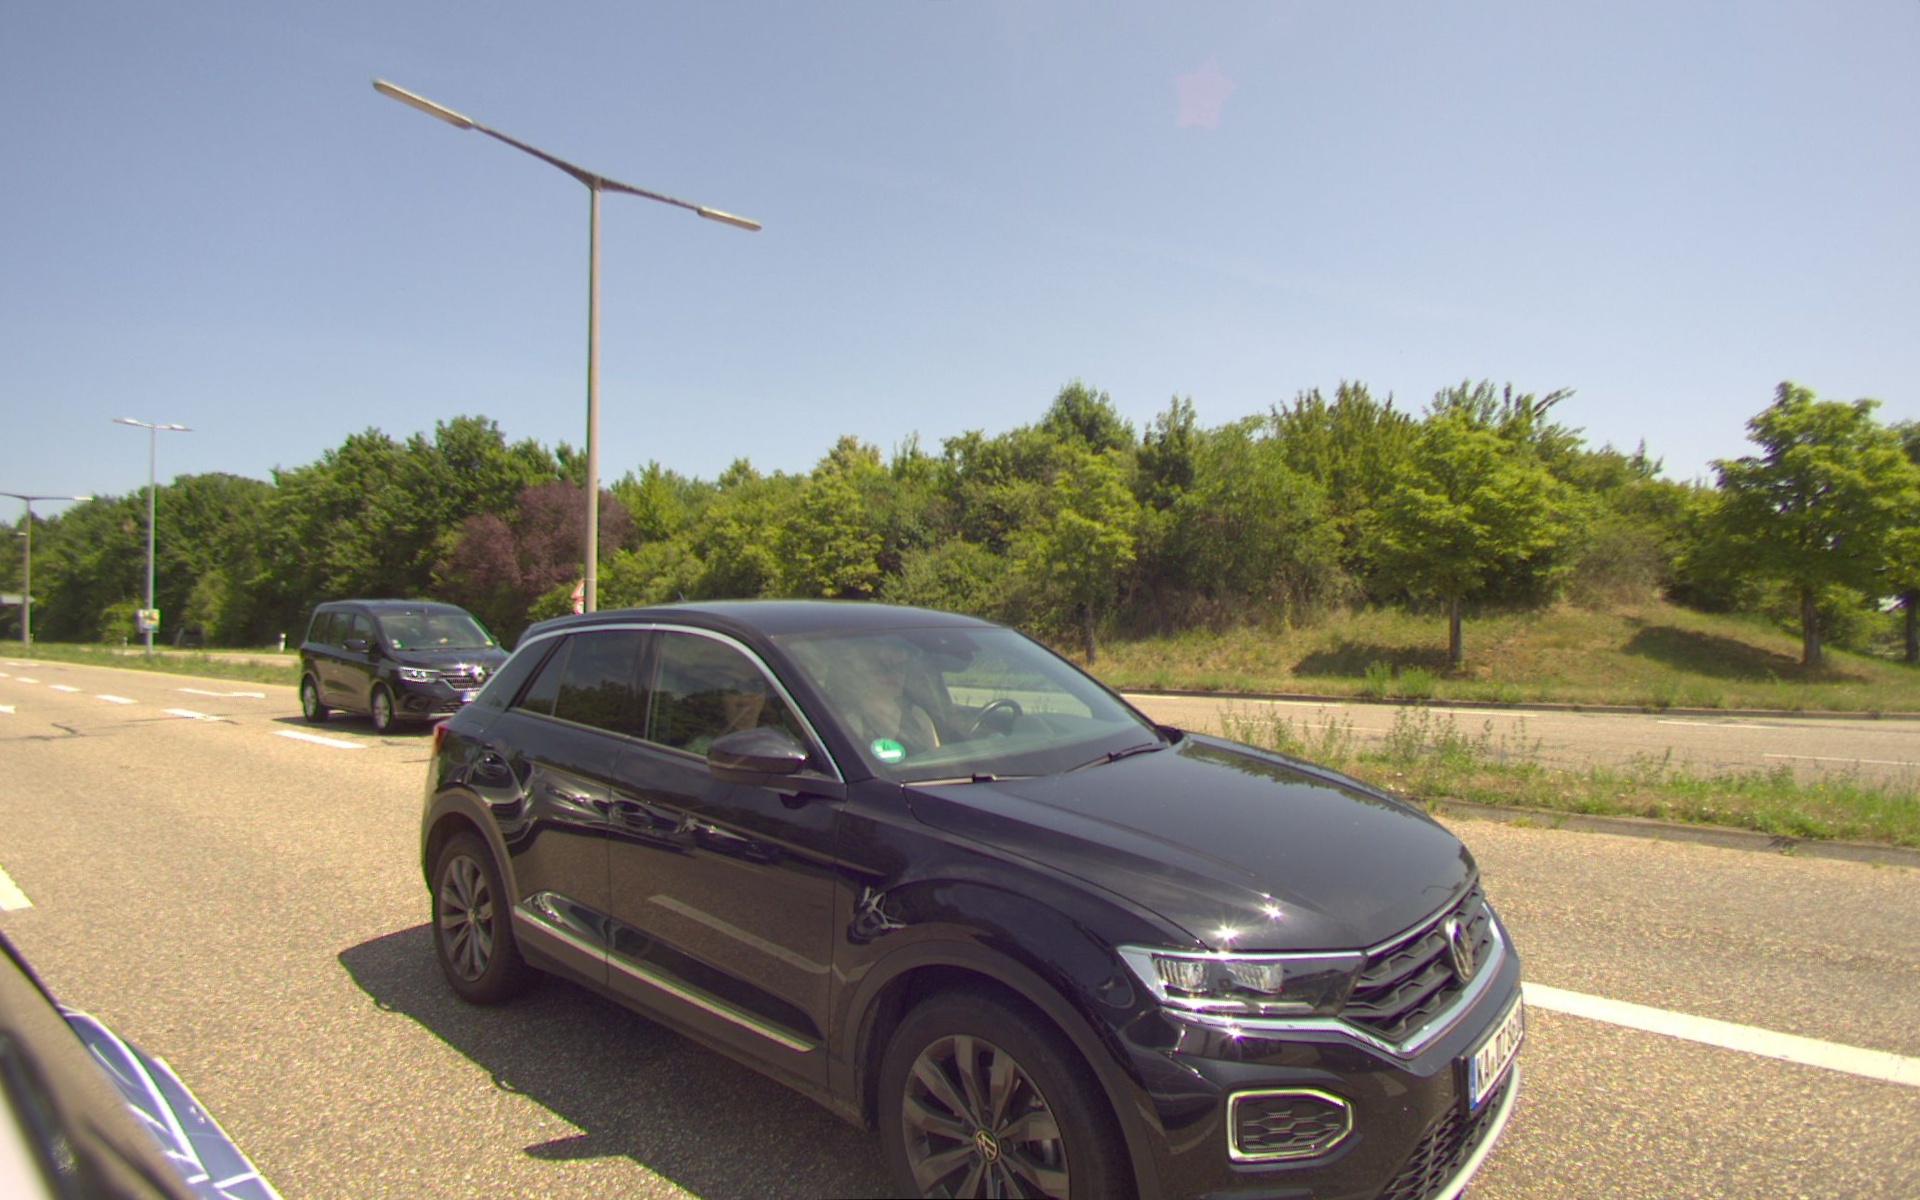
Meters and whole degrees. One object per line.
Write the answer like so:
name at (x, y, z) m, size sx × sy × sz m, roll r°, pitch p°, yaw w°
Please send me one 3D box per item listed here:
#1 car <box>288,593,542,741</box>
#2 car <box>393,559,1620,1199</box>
car at (-7.938, 0.891, 14.577) m, size 4.317 × 1.840 × 1.714 m, roll -2°, pitch -2°, yaw 39°
car at (-0.242, 0.715, 3.440) m, size 3.969 × 1.523 × 1.716 m, roll -1°, pitch 0°, yaw 41°
